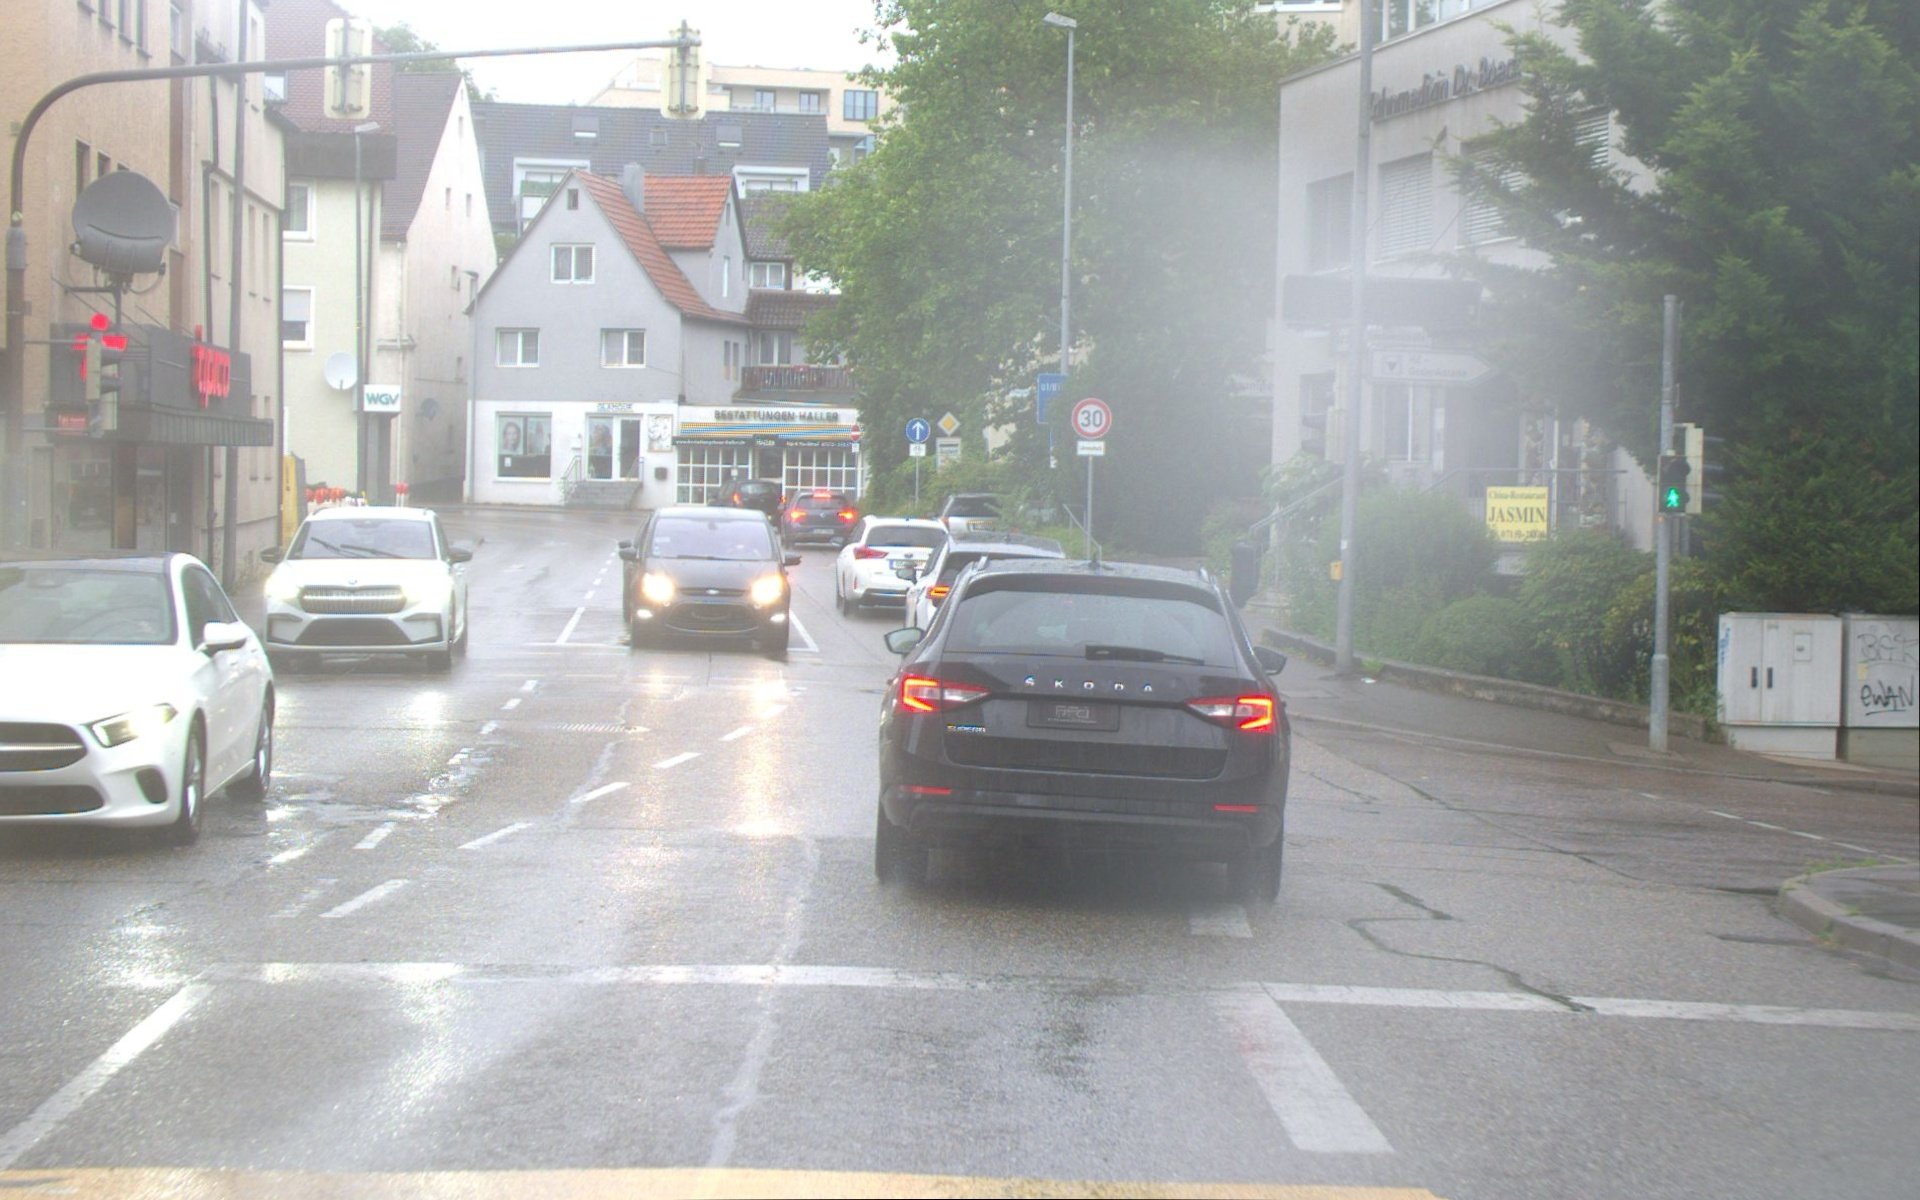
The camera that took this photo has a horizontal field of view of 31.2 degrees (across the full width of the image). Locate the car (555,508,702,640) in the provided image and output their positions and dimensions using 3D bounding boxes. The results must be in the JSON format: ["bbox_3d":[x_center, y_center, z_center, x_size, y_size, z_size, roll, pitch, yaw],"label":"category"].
[{"bbox_3d":[-4.381,-0.385,45.474,1.784,1.557,4.403,2,2,-6],"label":"car"}]

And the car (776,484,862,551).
[{"bbox_3d":[-3.485,-2.017,84.684,1.892,1.585,3.689,0,1,-6],"label":"car"}]

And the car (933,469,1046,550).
[{"bbox_3d":[0.589,-1.895,71.919,1.852,1.635,3.872,0,2,-7],"label":"car"}]

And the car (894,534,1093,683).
[{"bbox_3d":[0.284,0.044,35.173,1.817,1.355,3.990,2,1,-2],"label":"car"}]

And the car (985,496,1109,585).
[{"bbox_3d":[1.645,-1.162,66.077,1.852,1.635,3.539,0,2,-7],"label":"car"}]

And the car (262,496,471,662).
[{"bbox_3d":[-6.056,-0.268,35.477,1.784,1.555,4.338,1,2,-5],"label":"car"}]

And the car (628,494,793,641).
[{"bbox_3d":[-3.003,-0.428,40.691,1.784,1.557,4.403,2,2,-6],"label":"car"}]

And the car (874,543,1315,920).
[{"bbox_3d":[0.518,0.511,16.375,1.782,1.478,4.246,2,1,-1],"label":"car"}]

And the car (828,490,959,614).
[{"bbox_3d":[-1.017,-0.667,50.474,1.727,1.585,4.184,3,-1,-3],"label":"car"}]

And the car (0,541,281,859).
[{"bbox_3d":[-4.581,0.418,17.580,1.690,1.368,4.114,0,2,-4],"label":"car"}]

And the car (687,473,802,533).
[{"bbox_3d":[-6.222,-2.778,99.061,1.892,1.676,3.689,0,1,-29],"label":"car"}]

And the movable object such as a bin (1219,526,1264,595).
[{"bbox_3d":[4.155,-0.588,50.806,0.512,0.942,0.602,5,6,14],"label":"movable object such as a bin"}]
